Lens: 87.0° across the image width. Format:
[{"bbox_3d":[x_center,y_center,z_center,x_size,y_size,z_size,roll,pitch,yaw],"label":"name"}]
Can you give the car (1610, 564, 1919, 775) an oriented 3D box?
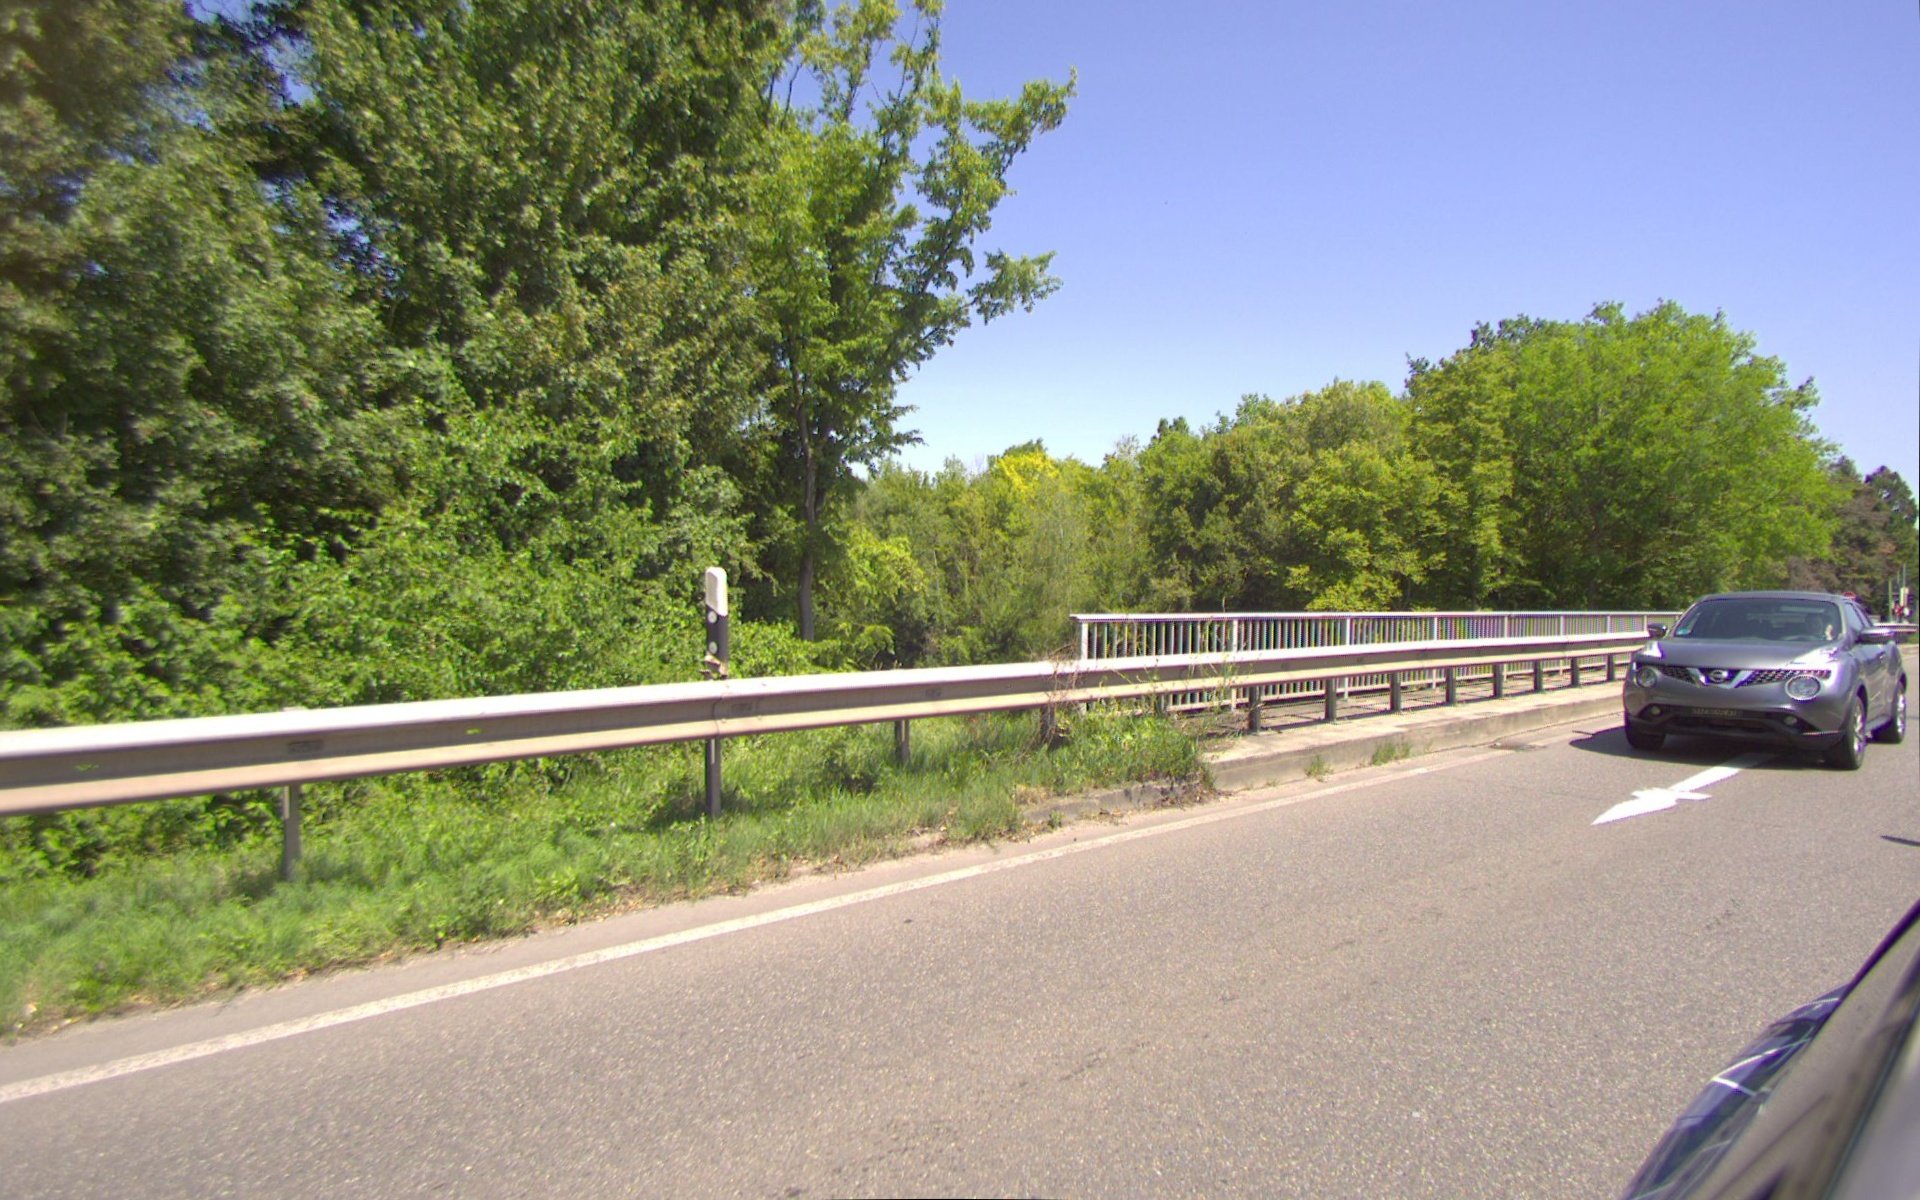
[{"bbox_3d":[8.230,0.540,10.150,3.930,1.706,1.847,0,1,-41],"label":"car"}]
